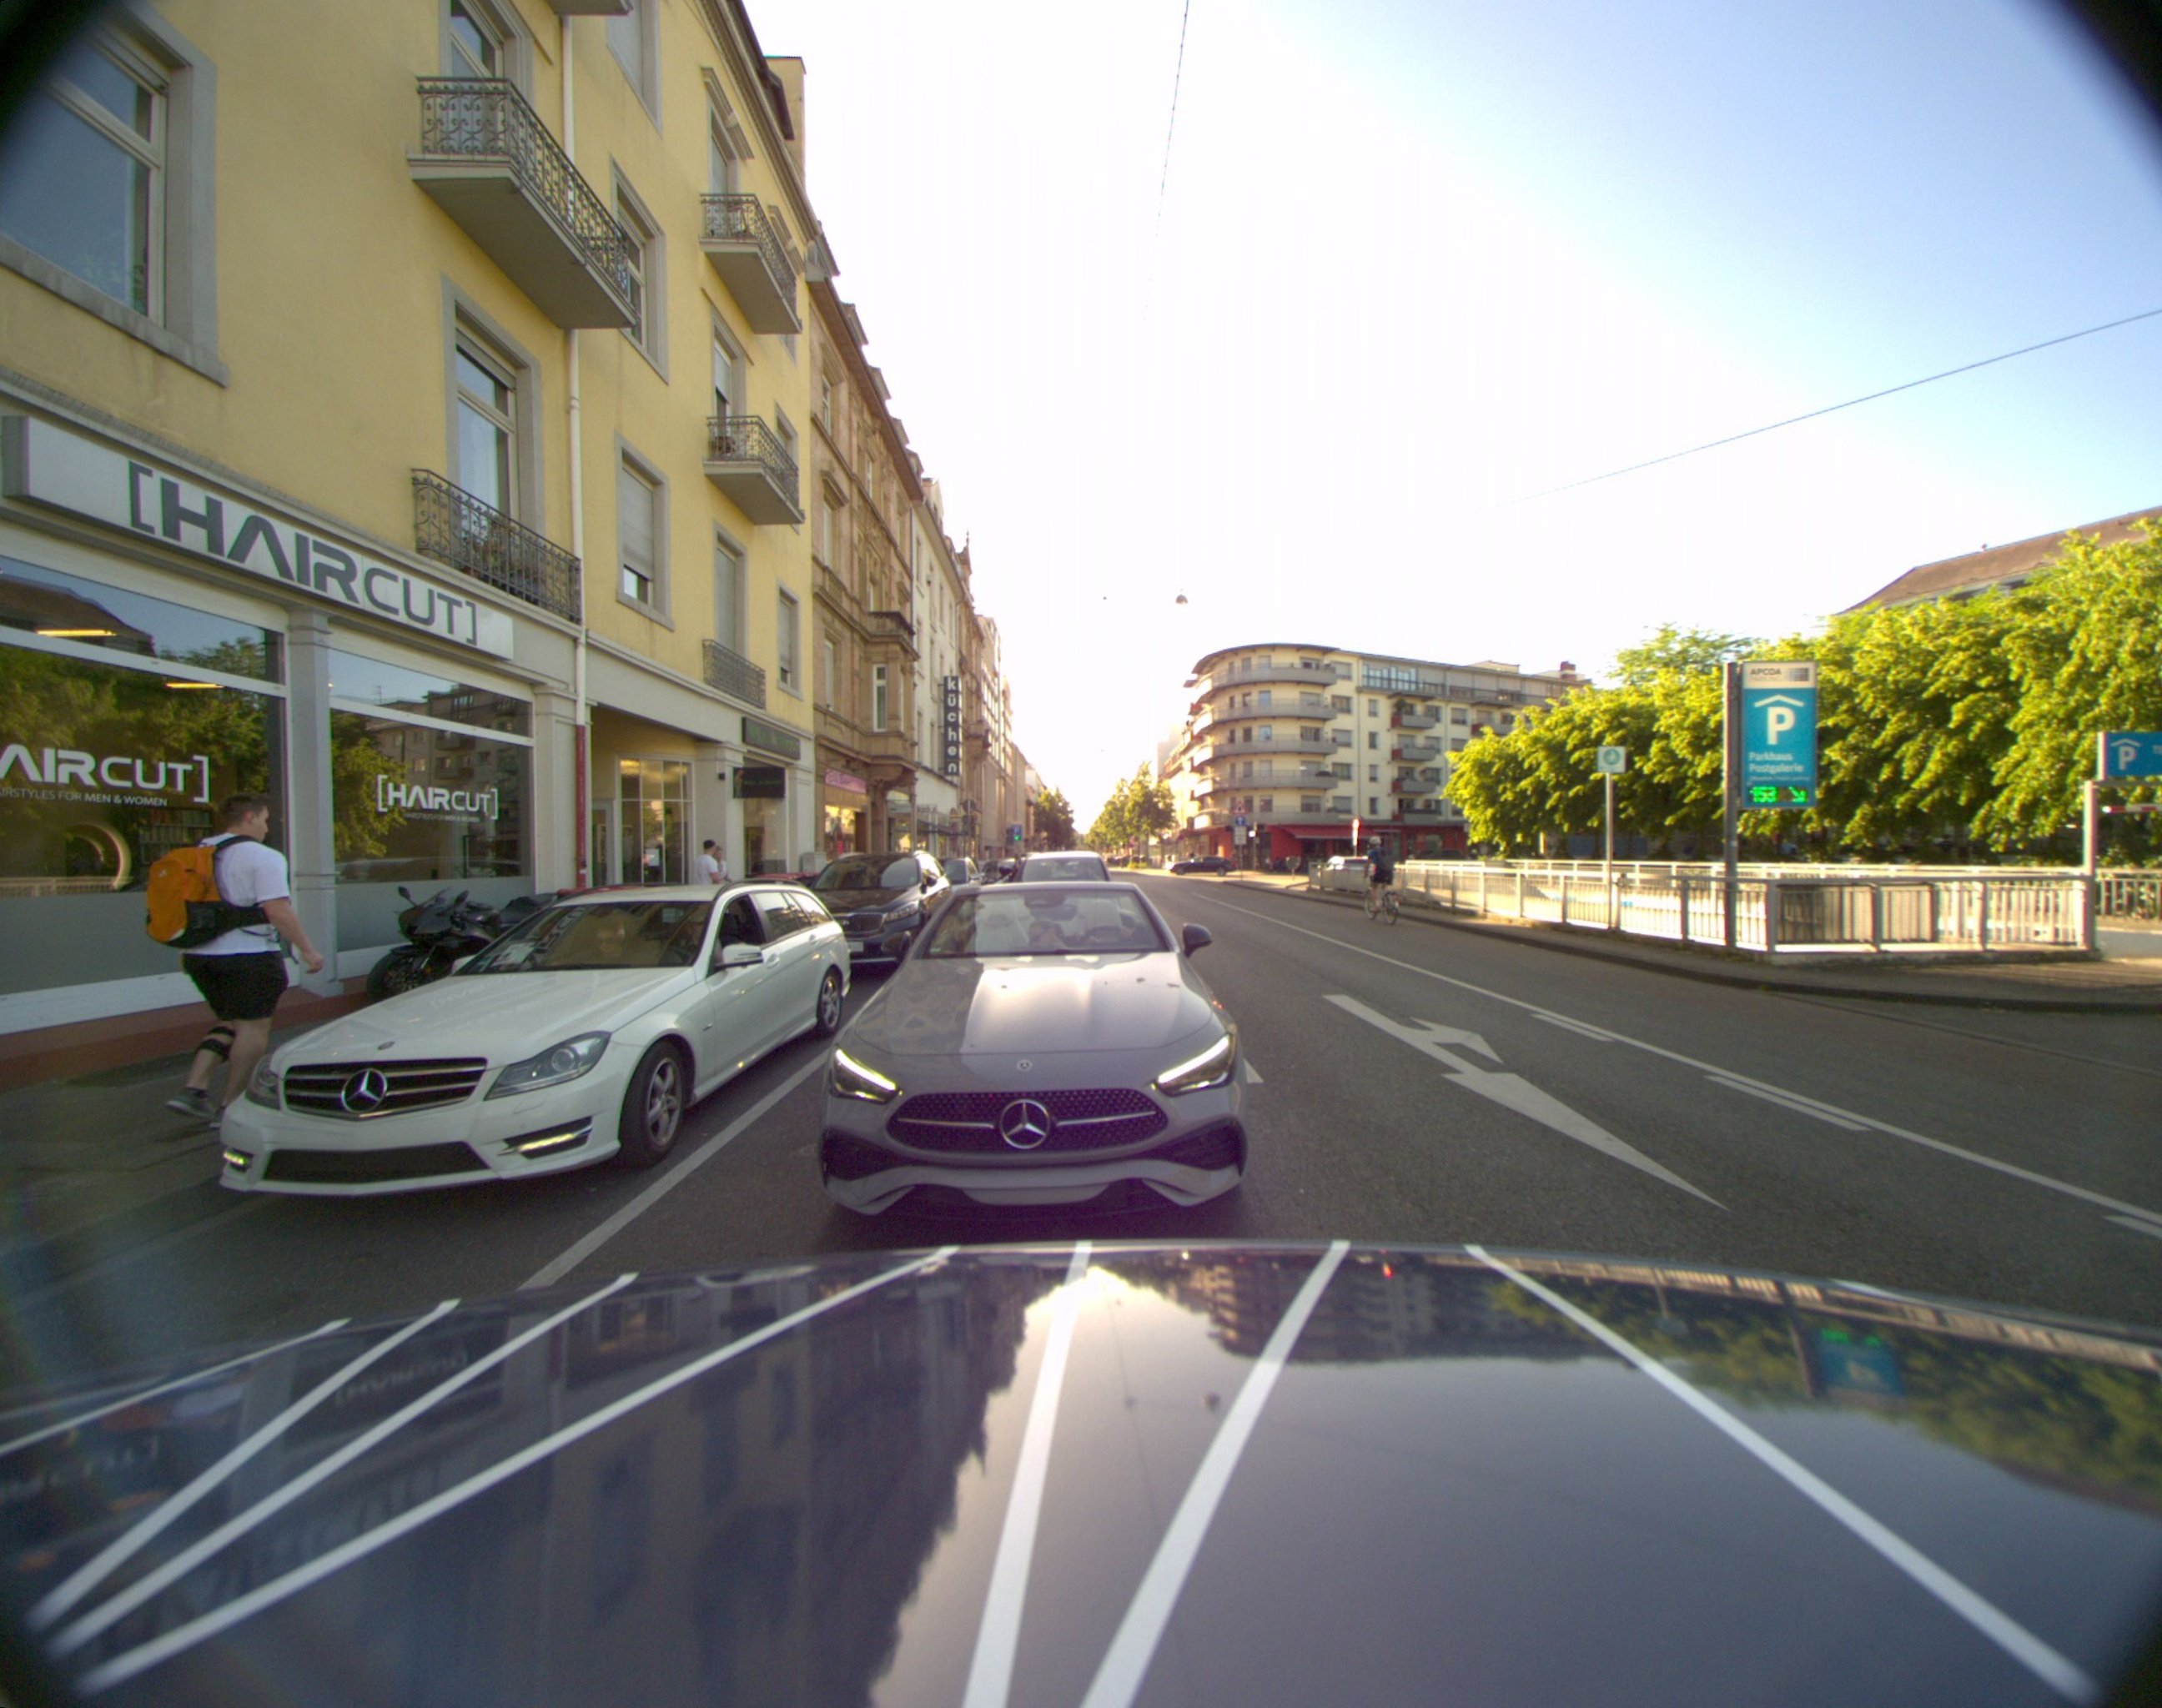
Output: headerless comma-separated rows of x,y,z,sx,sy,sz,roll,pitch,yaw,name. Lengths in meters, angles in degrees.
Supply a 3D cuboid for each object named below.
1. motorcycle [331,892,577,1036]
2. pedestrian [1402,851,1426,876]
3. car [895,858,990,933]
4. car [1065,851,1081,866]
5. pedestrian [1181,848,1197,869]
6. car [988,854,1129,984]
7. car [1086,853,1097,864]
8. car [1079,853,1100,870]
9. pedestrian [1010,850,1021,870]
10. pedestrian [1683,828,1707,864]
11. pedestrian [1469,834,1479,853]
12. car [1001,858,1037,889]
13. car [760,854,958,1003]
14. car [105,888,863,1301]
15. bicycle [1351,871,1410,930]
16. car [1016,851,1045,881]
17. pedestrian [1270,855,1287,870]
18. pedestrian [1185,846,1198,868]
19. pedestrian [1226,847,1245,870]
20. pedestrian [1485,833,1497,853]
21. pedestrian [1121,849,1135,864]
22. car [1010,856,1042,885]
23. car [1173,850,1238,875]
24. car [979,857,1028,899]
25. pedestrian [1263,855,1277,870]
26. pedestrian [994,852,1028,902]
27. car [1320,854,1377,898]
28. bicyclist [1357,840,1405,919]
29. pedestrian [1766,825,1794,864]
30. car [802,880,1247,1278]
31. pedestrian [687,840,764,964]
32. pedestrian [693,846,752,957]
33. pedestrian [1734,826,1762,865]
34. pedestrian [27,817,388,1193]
-6.254,1.025,7.785,0.735,1.124,2.109,2,1,1,motorcycle
23.274,0.648,53.089,1.271,1.656,1.140,-2,1,10,pedestrian
-3.180,0.907,17.985,1.583,1.514,2.998,-2,1,1,car
-0.905,0.483,86.011,1.695,1.635,3.599,-2,1,-1,car
9.147,0.400,64.157,1.069,1.709,1.080,-2,1,-5,pedestrian
-0.363,0.895,12.754,1.866,1.658,4.706,-2,1,-2,car
1.906,0.826,142.970,1.836,1.831,3.886,1,1,-2,car
0.754,0.671,69.157,1.695,1.437,3.575,-2,1,-3,car
-5.867,0.544,68.087,0.826,1.750,0.823,-2,1,-1,pedestrian
31.717,-0.426,39.250,0.748,1.832,0.683,-3,1,-21,pedestrian
38.792,-1.057,75.013,0.745,1.832,0.685,-1,2,41,pedestrian
-2.952,0.903,36.677,1.461,1.310,3.363,-2,1,-1,car
-3.011,0.891,11.334,1.806,1.680,4.408,-2,1,-3,car
-3.025,1.073,5.243,1.672,1.364,4.377,-2,1,1,car
6.591,0.983,16.799,0.617,1.156,1.958,1,1,3,bicycle
-3.150,0.720,47.544,1.695,1.670,3.880,-2,1,-3,car
15.433,0.656,59.376,0.937,1.191,0.832,-3,1,-24,pedestrian
10.008,0.240,68.653,0.990,1.908,0.790,-2,1,-3,pedestrian
12.261,0.352,60.437,1.063,1.739,0.960,-3,1,-30,pedestrian
38.365,-0.998,71.082,0.747,1.832,0.684,-2,1,1,pedestrian
5.903,0.283,94.926,1.224,1.826,1.200,-3,1,-29,pedestrian
-2.939,0.869,40.946,1.461,1.391,3.363,-2,1,-1,car
8.637,0.575,52.533,4.242,1.521,1.678,-2,1,14,car
-3.024,0.905,30.308,1.695,1.482,3.796,-2,1,-3,car
14.926,0.668,60.034,0.780,1.191,0.884,-2,1,-10,pedestrian
-2.478,0.796,26.979,0.836,1.709,0.821,-2,1,19,pedestrian
10.616,0.815,30.368,1.636,1.521,3.911,-2,1,12,car
6.594,0.539,16.740,0.703,1.700,0.810,0,1,-1,bicyclist
33.601,-0.432,36.515,0.748,1.832,0.683,-2,1,-13,pedestrian
-0.280,0.998,5.354,1.769,1.360,4.471,-2,1,-2,car
-5.640,0.731,12.048,0.975,1.866,0.534,-3,1,-31,pedestrian
-6.147,0.796,13.056,0.630,1.826,0.770,-2,1,-7,pedestrian
32.256,-0.393,36.765,0.748,1.852,0.683,-2,1,-13,pedestrian
-4.683,0.725,4.172,0.810,1.812,0.982,1,1,4,pedestrian
